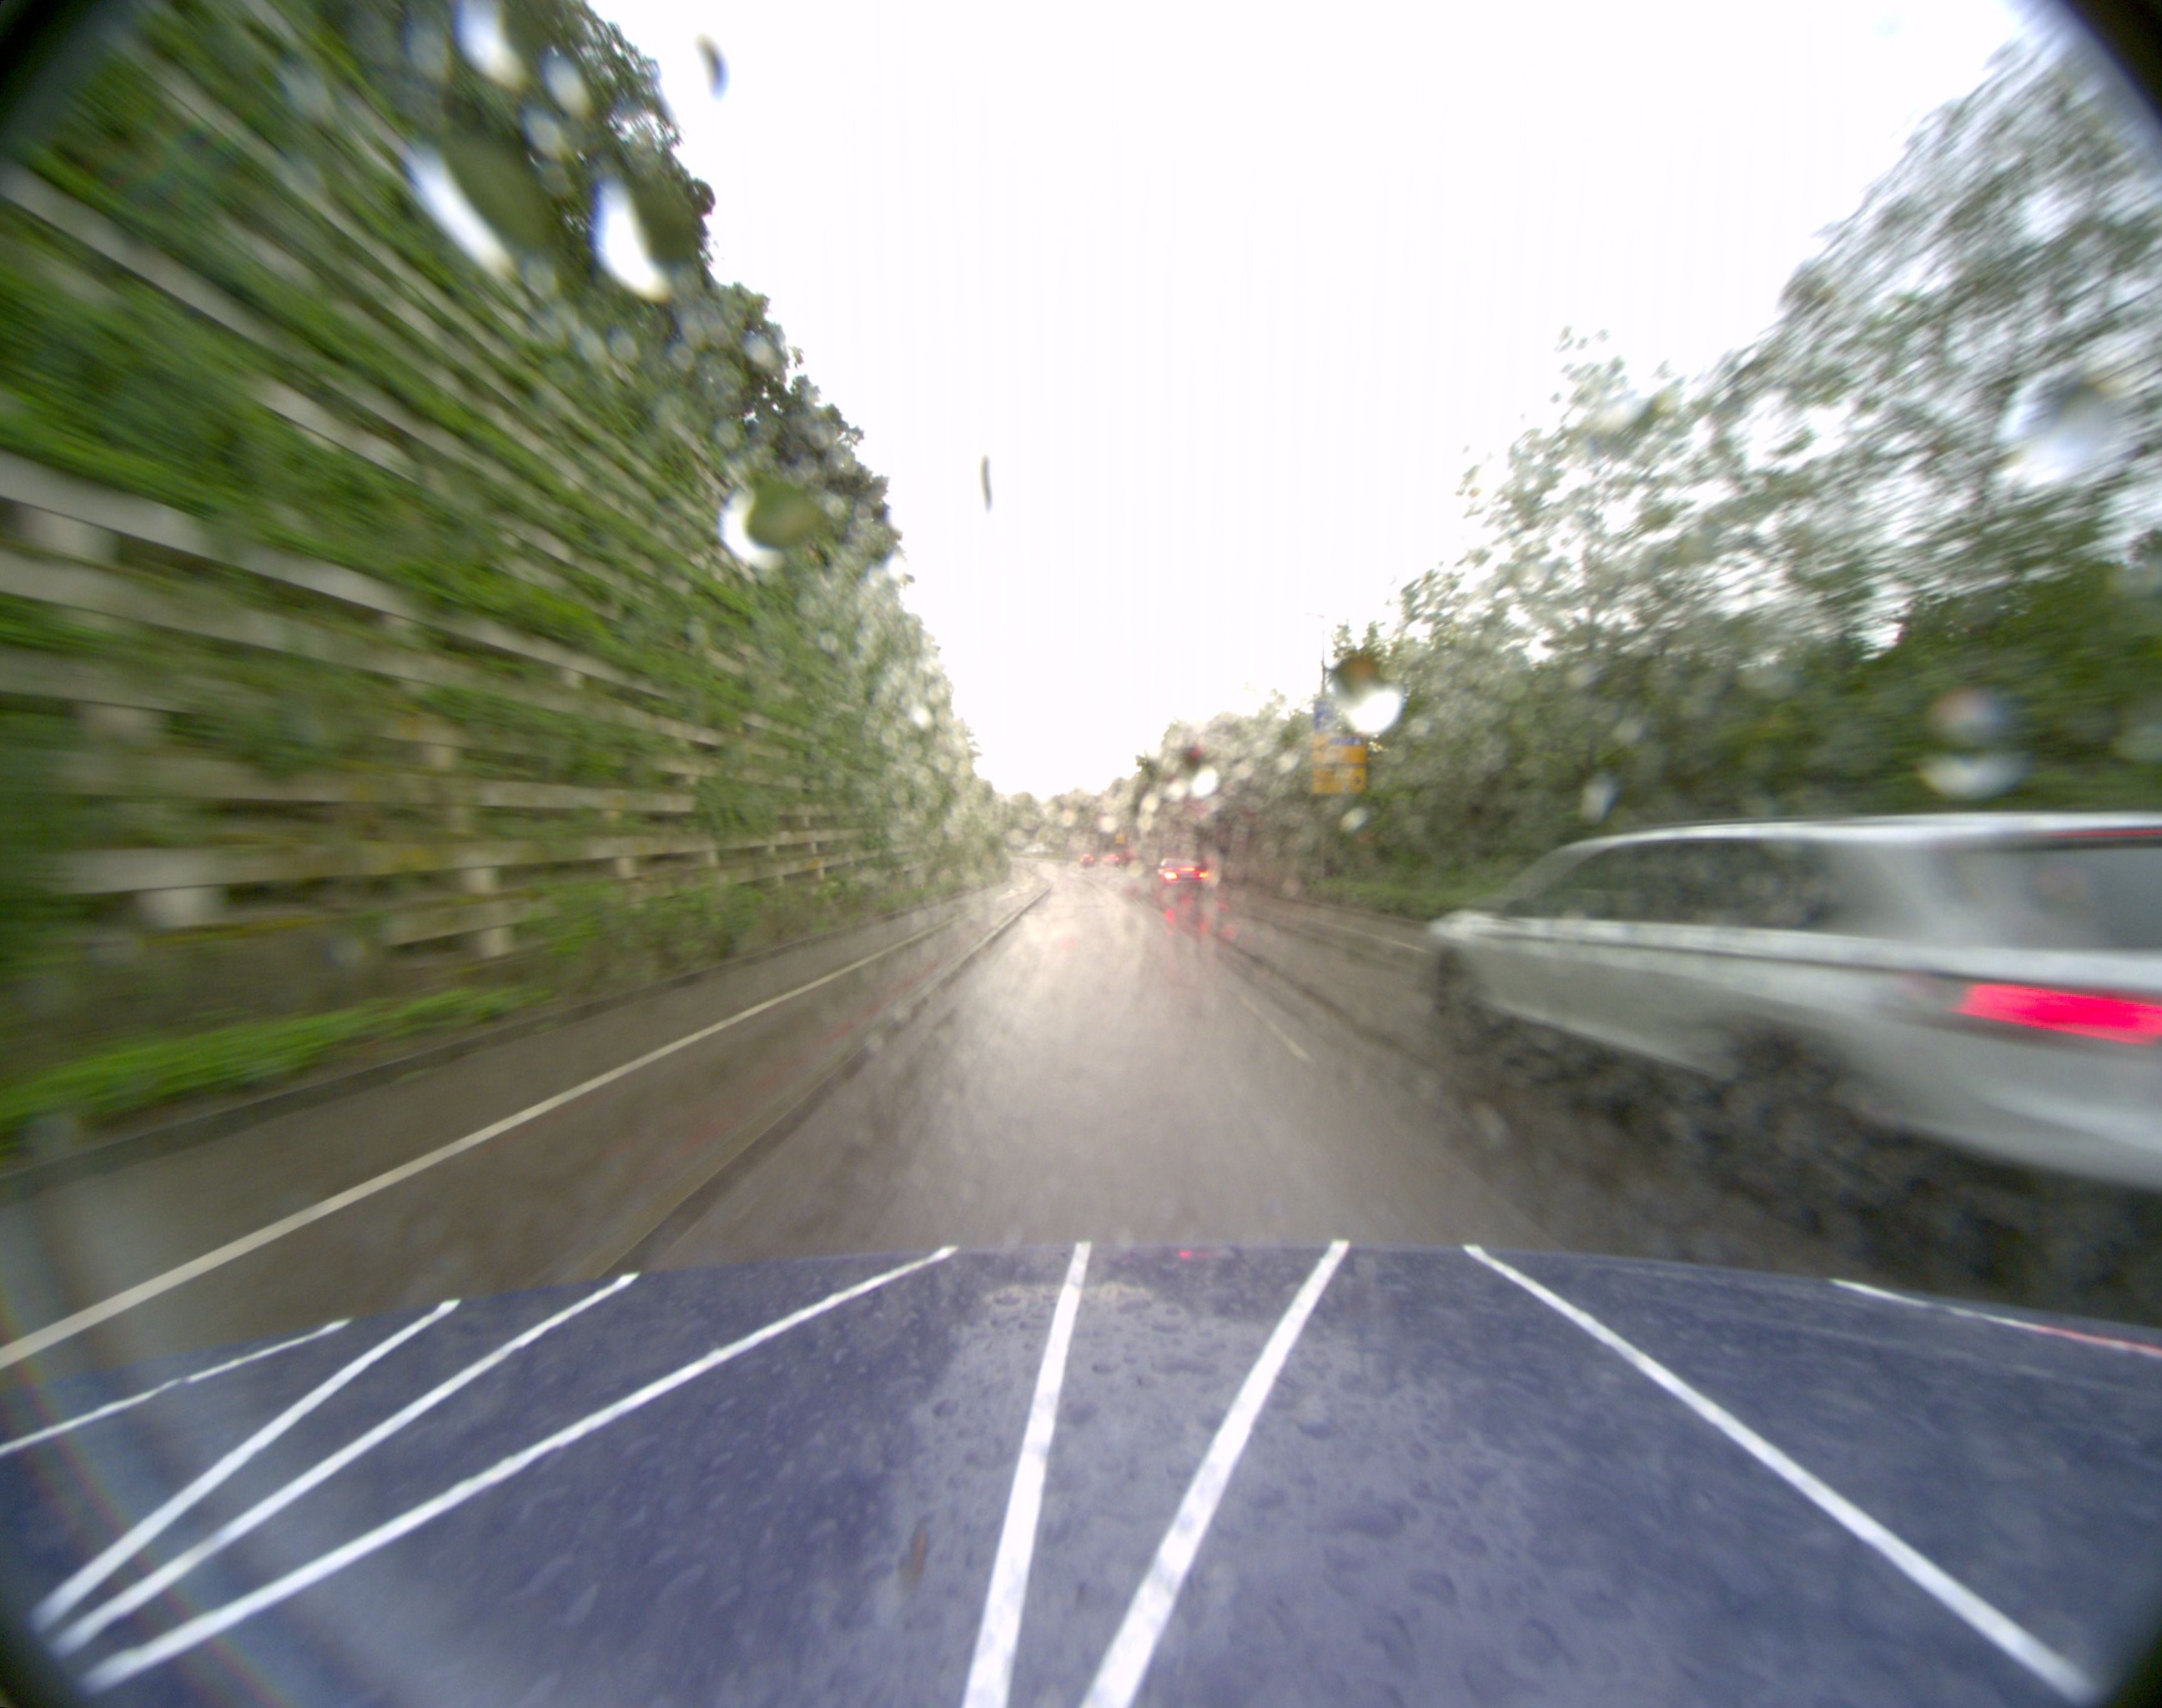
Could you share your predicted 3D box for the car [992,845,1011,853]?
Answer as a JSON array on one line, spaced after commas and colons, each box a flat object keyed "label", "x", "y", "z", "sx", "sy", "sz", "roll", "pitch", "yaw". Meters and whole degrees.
[{"label": "car", "x": -16.870, "y": -1.133, "z": 161.538, "sx": 3.999, "sy": 1.565, "sz": 1.669, "roll": 2, "pitch": 2, "yaw": -5}]

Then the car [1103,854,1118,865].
[{"label": "car", "x": 4.368, "y": 0.798, "z": 112.320, "sx": 1.998, "sy": 1.494, "sz": 4.729, "roll": 2, "pitch": 2, "yaw": 3}]

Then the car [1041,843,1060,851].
[{"label": "car", "x": -6.555, "y": -1.559, "z": 163.049, "sx": 3.823, "sy": 1.559, "sz": 1.773, "roll": 2, "pitch": 2, "yaw": -5}]

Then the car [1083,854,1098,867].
[{"label": "car", "x": 1.280, "y": 0.817, "z": 101.229, "sx": 1.736, "sy": 1.609, "sz": 4.000, "roll": -1, "pitch": 1, "yaw": 4}]

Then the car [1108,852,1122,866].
[{"label": "car", "x": 4.723, "y": 0.699, "z": 104.945, "sx": 1.818, "sy": 1.648, "sz": 4.050, "roll": 2, "pitch": 3, "yaw": 5}]

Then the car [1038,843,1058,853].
[{"label": "car", "x": -7.151, "y": -1.354, "z": 165.426, "sx": 4.234, "sy": 1.969, "sz": 1.903, "roll": 2, "pitch": 2, "yaw": -5}]

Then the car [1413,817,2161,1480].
[{"label": "car", "x": 3.506, "y": 0.678, "z": 3.828, "sx": 1.827, "sy": 1.605, "sz": 4.092, "roll": -2, "pitch": 0, "yaw": 0}]

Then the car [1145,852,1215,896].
[{"label": "car", "x": 3.469, "y": 0.662, "z": 27.477, "sx": 1.870, "sy": 1.440, "sz": 4.376, "roll": -1, "pitch": 0, "yaw": -1}]
